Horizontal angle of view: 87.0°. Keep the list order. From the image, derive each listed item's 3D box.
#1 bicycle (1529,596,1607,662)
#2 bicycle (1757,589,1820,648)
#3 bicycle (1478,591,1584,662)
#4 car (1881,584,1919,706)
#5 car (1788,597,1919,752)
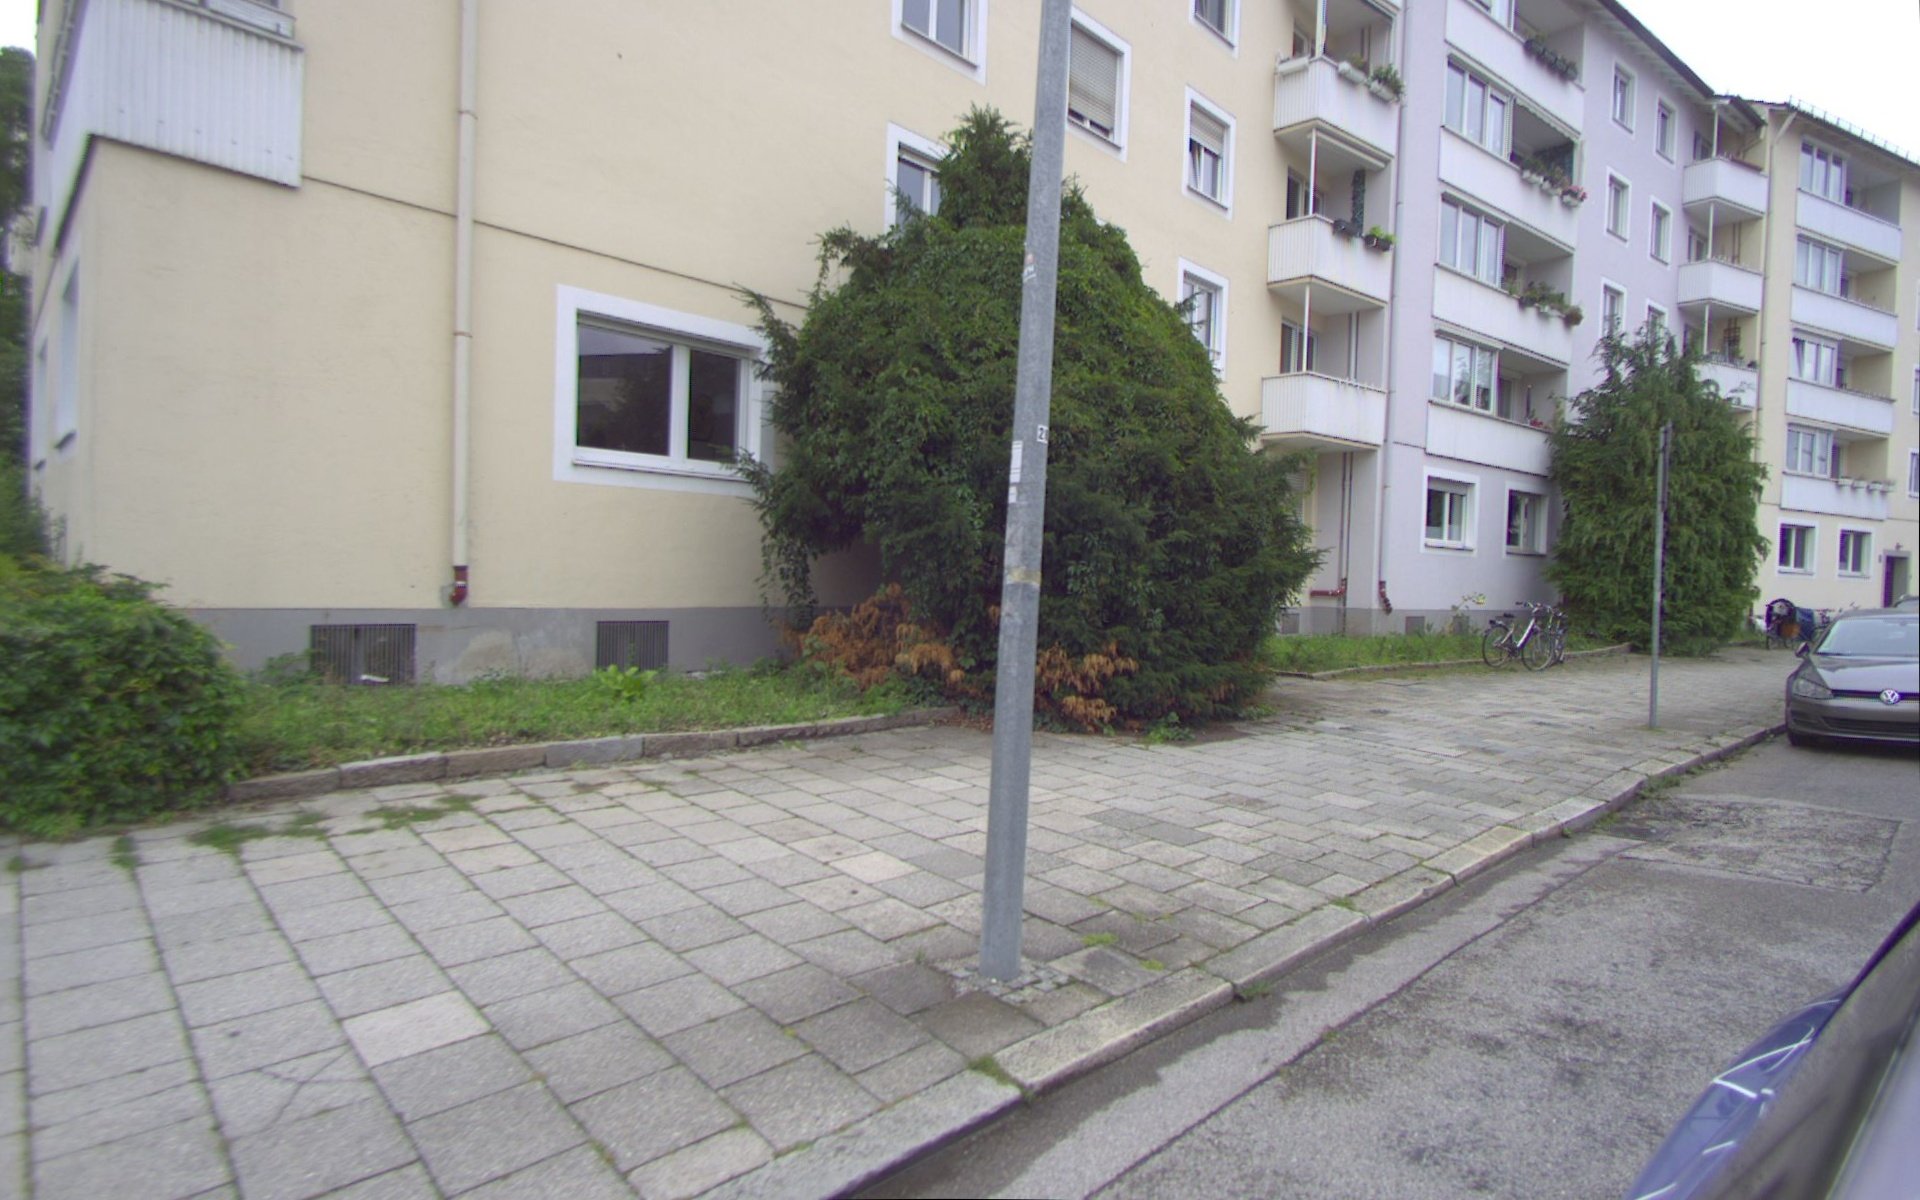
[{"bbox_3d":[11.053,0.510,18.380,1.907,1.131,0.469,1,3,-37],"label":"bicycle"},{"bbox_3d":[21.245,0.456,25.942,2.428,1.383,0.744,0,5,-41],"label":"bicycle"},{"bbox_3d":[9.545,0.445,16.890,1.903,1.131,0.470,1,2,-25],"label":"bicycle"},{"bbox_3d":[14.555,0.597,14.119,4.430,1.585,1.663,0,1,-36],"label":"car"},{"bbox_3d":[10.475,0.705,11.013,3.977,1.414,1.756,-1,1,-43],"label":"car"}]
